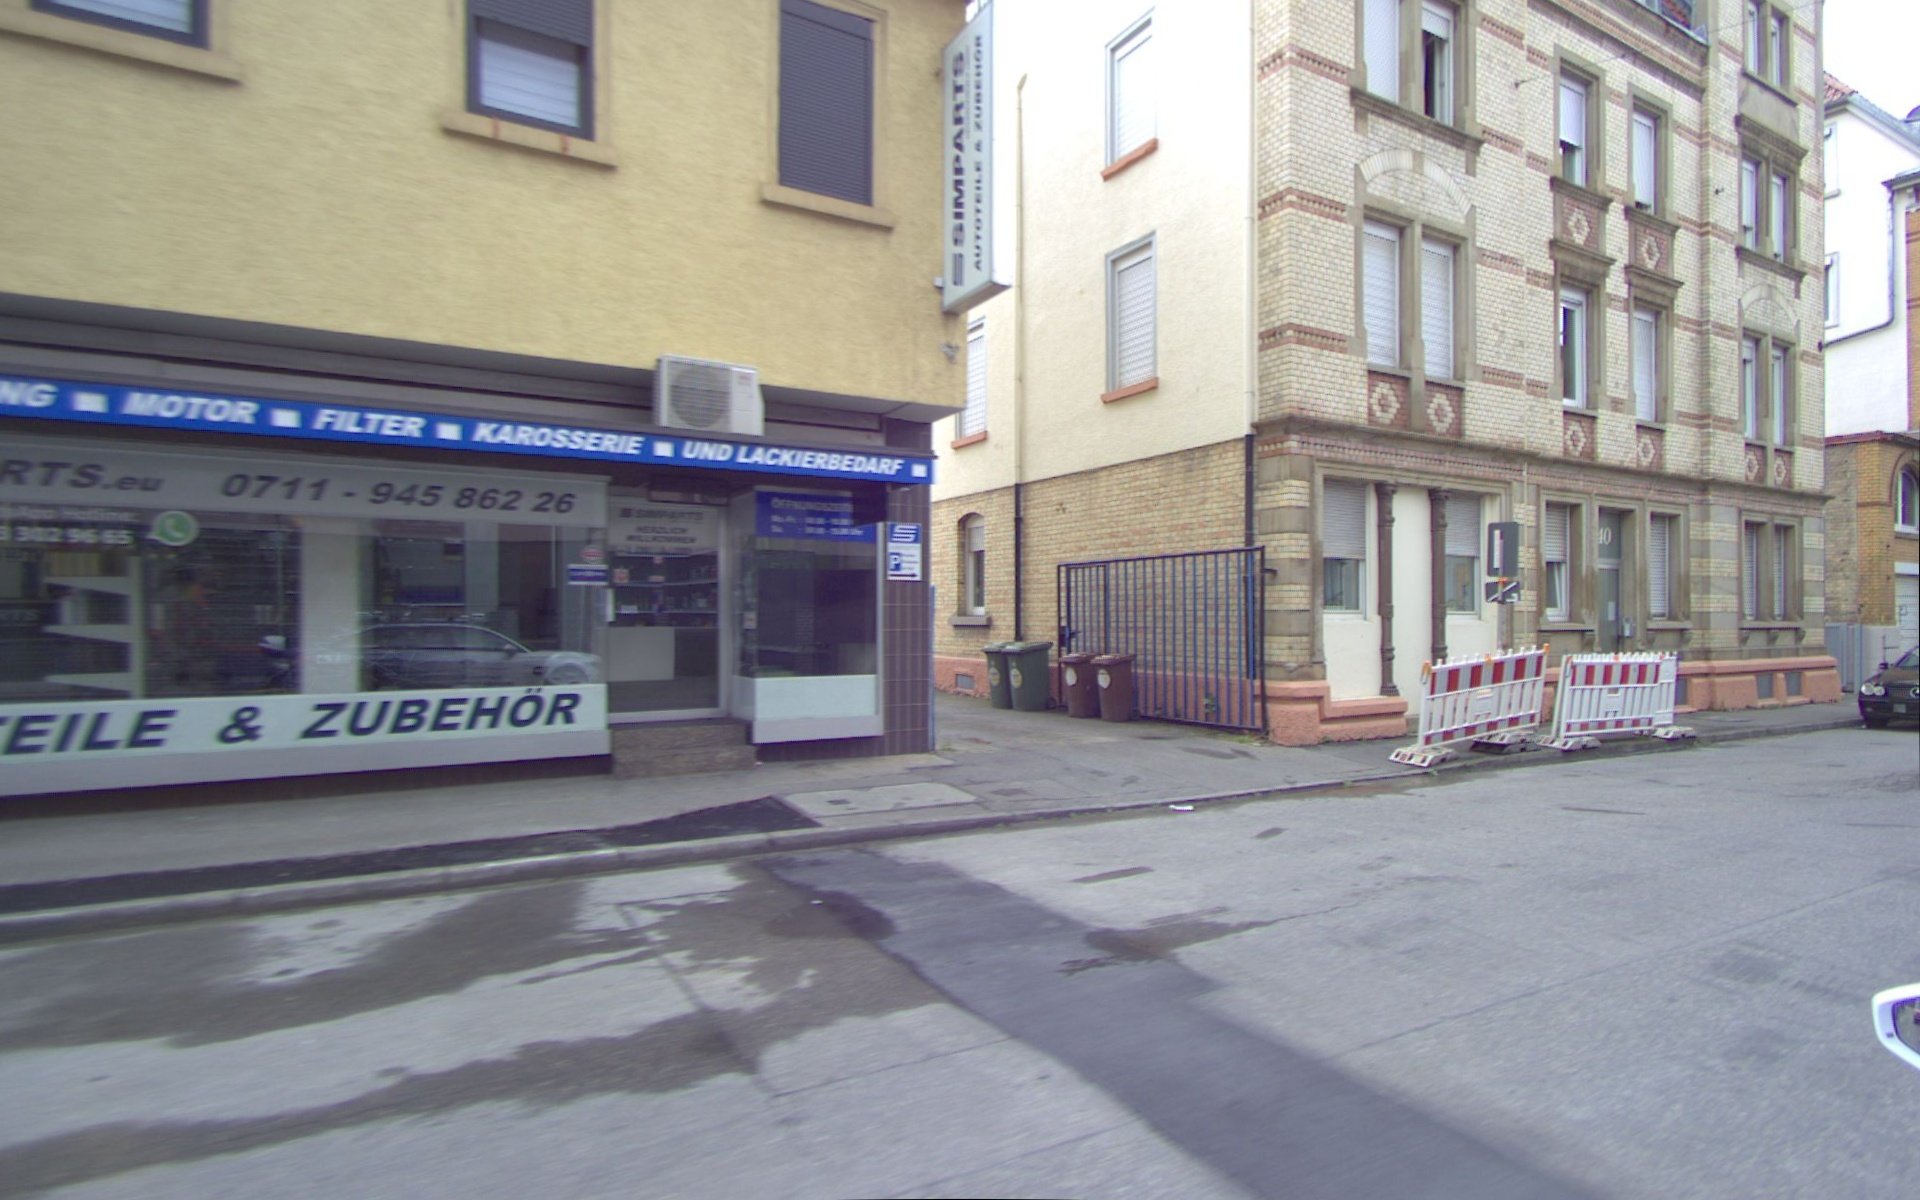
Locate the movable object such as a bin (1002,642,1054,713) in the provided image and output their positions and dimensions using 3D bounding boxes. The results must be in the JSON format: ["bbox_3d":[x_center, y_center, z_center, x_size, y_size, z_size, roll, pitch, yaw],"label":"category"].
[{"bbox_3d":[1.091,1.223,16.099,0.605,1.087,0.586,1,0,-28],"label":"movable object such as a bin"}]

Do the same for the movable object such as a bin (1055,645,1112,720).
[{"bbox_3d":[1.821,1.206,14.788,0.605,1.049,0.590,1,0,-28],"label":"movable object such as a bin"}]

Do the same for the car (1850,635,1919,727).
[{"bbox_3d":[16.361,1.261,16.317,4.303,1.401,1.571,1,-3,-30],"label":"car"}]

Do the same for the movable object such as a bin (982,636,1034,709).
[{"bbox_3d":[0.789,1.186,16.627,0.653,1.172,0.584,1,0,-28],"label":"movable object such as a bin"}]

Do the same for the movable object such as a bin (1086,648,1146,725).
[{"bbox_3d":[2.203,1.203,14.191,0.605,1.049,0.590,1,-3,-28],"label":"movable object such as a bin"}]
